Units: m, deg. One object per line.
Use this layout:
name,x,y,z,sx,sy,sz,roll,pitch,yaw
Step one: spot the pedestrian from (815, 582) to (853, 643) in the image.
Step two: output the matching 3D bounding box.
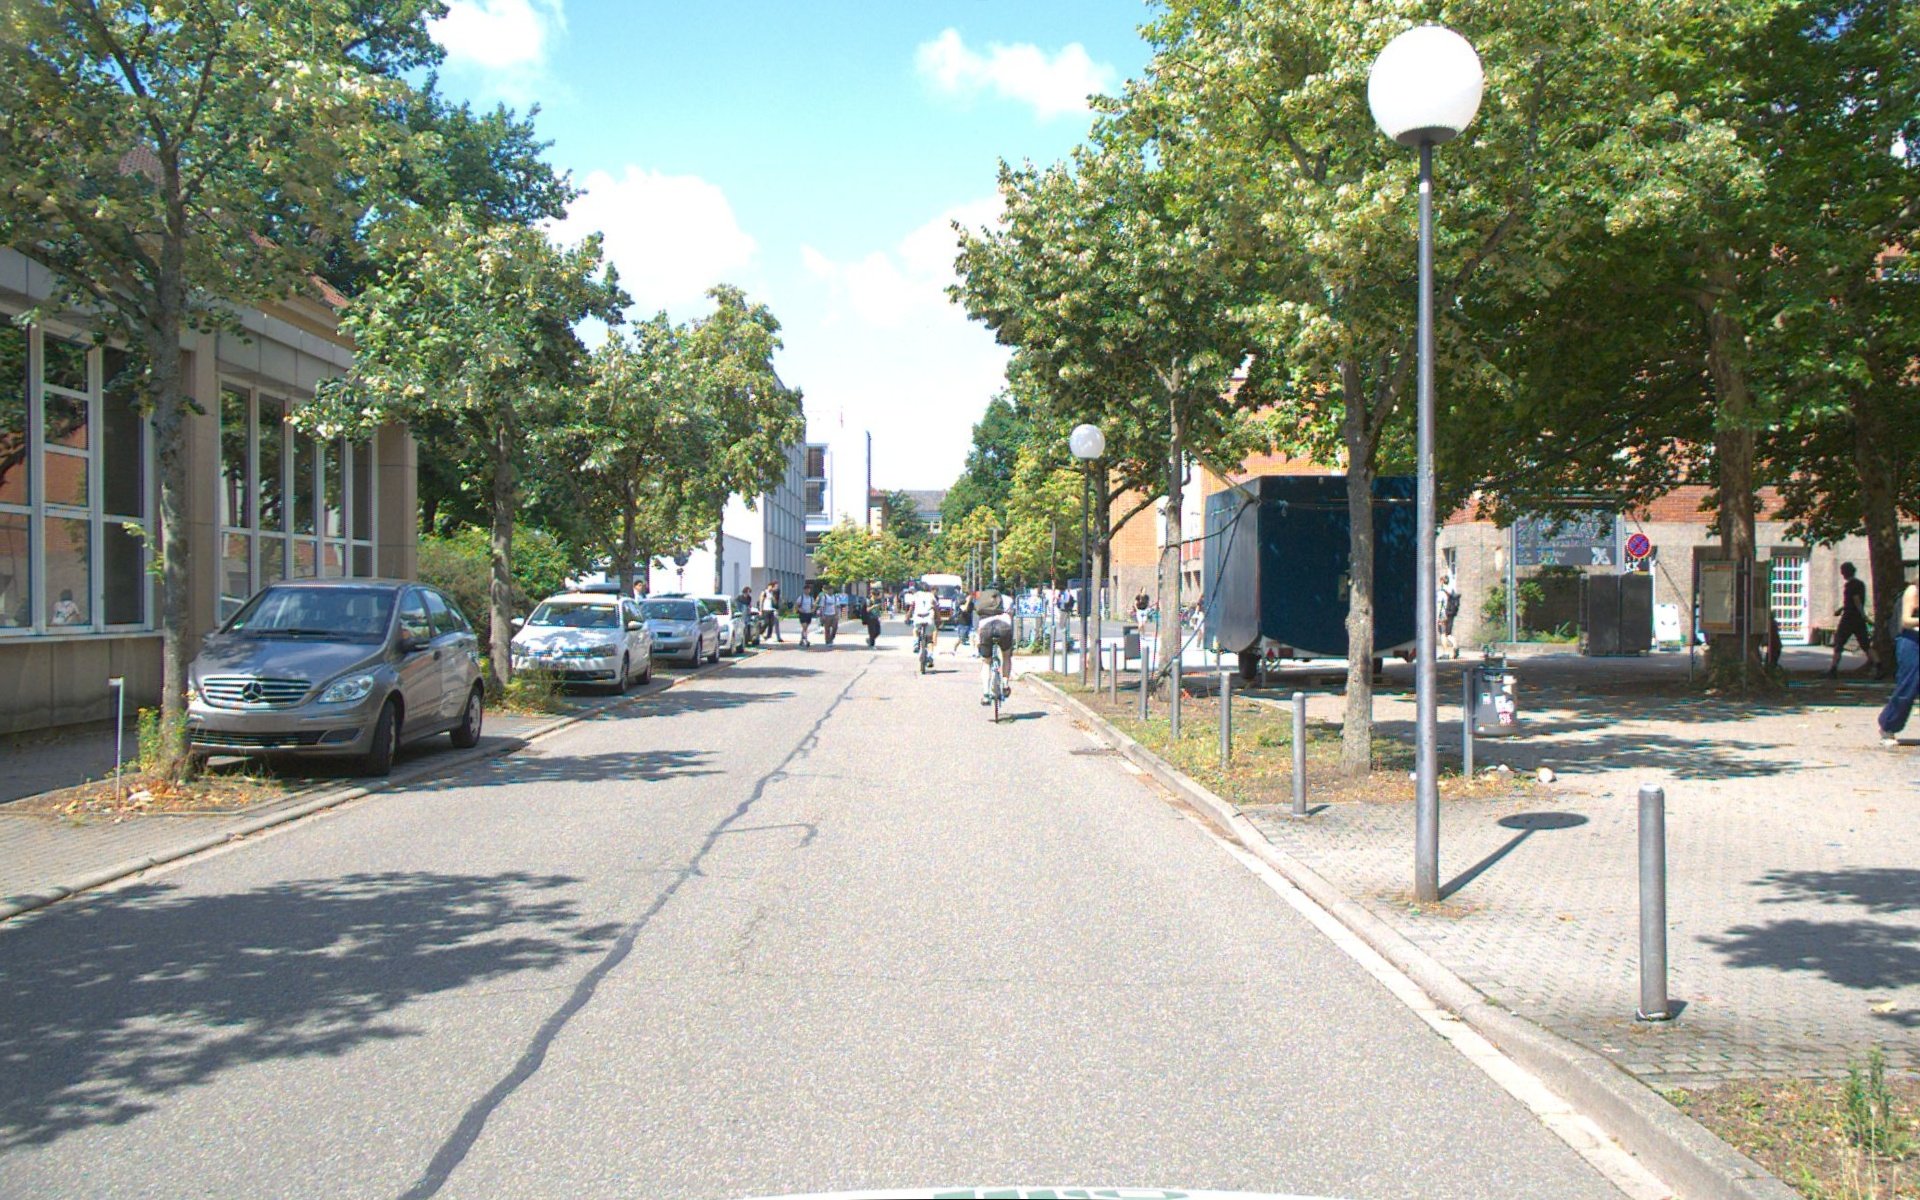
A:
pedestrian,-3.731,0.372,48.837,0.891,1.769,0.676,-1,0,37

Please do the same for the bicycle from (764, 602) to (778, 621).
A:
bicycle,-10.298,0.629,90.166,0.512,1.002,1.633,-2,0,3

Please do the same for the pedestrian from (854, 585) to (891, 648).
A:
pedestrian,-2.505,0.469,47.078,0.692,1.750,0.986,2,-1,-24

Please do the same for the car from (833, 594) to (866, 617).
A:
car,-7.477,0.351,112.315,1.758,1.557,4.001,0,0,3

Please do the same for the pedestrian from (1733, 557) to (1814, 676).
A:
pedestrian,11.843,0.235,24.102,0.749,1.690,0.824,-1,0,-1

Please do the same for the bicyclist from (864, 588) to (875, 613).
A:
bicyclist,-5.883,0.036,107.670,0.630,1.629,0.908,-1,0,-3

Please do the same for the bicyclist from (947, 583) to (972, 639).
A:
bicyclist,-0.027,0.351,53.804,0.792,1.787,0.692,1,-1,-1

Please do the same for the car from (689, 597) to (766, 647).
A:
car,-6.558,0.592,46.934,1.611,1.323,3.927,-1,0,0

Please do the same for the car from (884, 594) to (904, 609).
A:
car,-7.128,0.123,178.760,1.758,1.557,4.001,0,0,3

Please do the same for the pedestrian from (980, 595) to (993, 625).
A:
pedestrian,1.658,0.613,102.364,0.774,1.892,1.026,0,0,0

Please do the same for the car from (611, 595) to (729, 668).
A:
car,-6.007,0.613,34.670,1.690,1.367,4.165,2,0,0

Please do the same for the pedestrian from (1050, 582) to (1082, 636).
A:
pedestrian,3.554,0.293,55.192,0.938,1.724,0.705,2,2,9

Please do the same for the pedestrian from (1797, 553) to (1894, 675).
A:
pedestrian,13.450,0.195,25.145,0.940,1.806,0.917,-1,1,-9

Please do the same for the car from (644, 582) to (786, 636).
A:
car,-8.450,0.313,57.122,4.412,1.647,1.925,2,-1,18

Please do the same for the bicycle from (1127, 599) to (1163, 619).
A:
bicycle,9.596,0.450,85.845,1.773,1.002,0.560,-2,0,-2

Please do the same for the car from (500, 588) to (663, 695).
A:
car,-5.830,0.594,25.997,1.691,1.482,4.580,2,0,-3

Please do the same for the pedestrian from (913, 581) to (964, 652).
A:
pedestrian,-0.590,0.444,45.595,1.094,1.891,0.851,1,4,37

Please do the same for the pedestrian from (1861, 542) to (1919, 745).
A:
pedestrian,7.855,0.338,13.402,0.557,1.599,0.927,-1,0,-1

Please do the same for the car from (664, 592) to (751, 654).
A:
car,-6.173,0.531,40.740,1.628,1.436,3.806,1,0,-2

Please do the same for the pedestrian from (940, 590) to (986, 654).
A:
pedestrian,0.072,0.568,43.132,0.844,1.623,0.817,-2,1,-44

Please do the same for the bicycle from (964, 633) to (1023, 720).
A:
bicycle,0.428,0.934,20.829,0.692,1.010,1.911,1,0,1

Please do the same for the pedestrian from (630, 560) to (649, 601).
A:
pedestrian,-14.070,-0.848,72.587,0.679,1.780,0.636,1,-1,-1

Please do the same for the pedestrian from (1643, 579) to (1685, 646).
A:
pedestrian,17.326,0.302,40.715,0.646,1.635,0.678,-1,0,-16

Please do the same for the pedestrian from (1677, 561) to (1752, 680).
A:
pedestrian,10.975,0.297,24.078,0.683,1.690,0.788,-1,0,-1

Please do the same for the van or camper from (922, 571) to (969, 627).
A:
van or camper,-0.645,-0.019,75.633,1.952,2.488,4.570,-1,-1,1

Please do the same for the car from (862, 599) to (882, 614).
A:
car,-9.514,0.674,178.752,1.758,1.557,4.001,0,0,3

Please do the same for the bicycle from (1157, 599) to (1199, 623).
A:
bicycle,9.891,0.501,75.097,1.773,1.002,0.560,-2,0,-2

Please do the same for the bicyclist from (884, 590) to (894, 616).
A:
bicyclist,-4.648,0.185,108.425,0.654,1.711,0.992,-1,0,-2

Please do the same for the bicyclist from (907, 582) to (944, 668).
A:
bicyclist,-0.725,0.522,34.649,0.755,1.787,0.848,0,0,-1

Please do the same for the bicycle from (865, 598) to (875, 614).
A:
bicycle,-5.854,0.398,107.531,0.663,0.981,2.002,0,0,-3

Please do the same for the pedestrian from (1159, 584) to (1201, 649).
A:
pedestrian,5.918,0.440,44.545,0.858,1.666,0.948,-5,0,-1

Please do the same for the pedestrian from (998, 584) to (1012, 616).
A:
pedestrian,2.735,-0.001,100.636,0.774,1.892,1.026,-1,0,0

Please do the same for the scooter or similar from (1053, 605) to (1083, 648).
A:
scooter or similar,3.057,0.734,46.740,0.635,1.180,1.266,0,0,14

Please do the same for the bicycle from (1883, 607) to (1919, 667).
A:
bicycle,18.407,0.678,30.466,2.345,1.090,0.783,0,-1,6

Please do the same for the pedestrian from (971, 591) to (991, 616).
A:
pedestrian,1.790,0.325,141.776,1.470,2.031,1.645,-3,1,-3

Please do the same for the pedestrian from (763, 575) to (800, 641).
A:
pedestrian,-5.586,0.255,51.703,0.809,2.014,0.691,3,1,23

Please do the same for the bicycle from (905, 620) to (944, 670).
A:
bicycle,-0.749,0.953,34.797,0.792,1.020,2.123,0,-2,-1

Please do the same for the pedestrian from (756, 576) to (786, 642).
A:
pedestrian,-5.800,0.285,50.786,0.610,2.015,0.819,0,-2,-32

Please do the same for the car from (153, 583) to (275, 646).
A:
car,-23.876,0.416,53.115,1.889,1.799,4.440,-3,1,-2

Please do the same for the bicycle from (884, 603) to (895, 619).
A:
bicycle,-4.625,0.689,108.192,0.663,0.981,2.002,-3,1,-2

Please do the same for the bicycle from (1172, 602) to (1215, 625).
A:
bicycle,10.101,0.570,71.493,1.773,0.928,0.560,-2,0,-2

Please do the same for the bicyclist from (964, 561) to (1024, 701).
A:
bicyclist,0.432,0.382,20.724,0.702,1.691,1.095,1,0,1

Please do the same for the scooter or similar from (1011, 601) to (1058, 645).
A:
scooter or similar,2.223,0.665,49.085,1.237,1.287,0.638,0,0,31

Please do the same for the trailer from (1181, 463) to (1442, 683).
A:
trailer,5.460,-0.397,26.838,2.637,3.105,6.254,-1,0,-2

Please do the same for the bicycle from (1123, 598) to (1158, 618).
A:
bicycle,9.611,0.433,88.182,1.773,1.002,0.560,-2,0,-2

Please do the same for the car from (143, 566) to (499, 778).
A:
car,-5.492,0.561,14.802,1.722,1.583,4.111,2,0,-3

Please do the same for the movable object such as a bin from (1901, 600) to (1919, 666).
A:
movable object such as a bin,16.188,0.546,27.533,0.587,1.090,0.742,0,-2,-1

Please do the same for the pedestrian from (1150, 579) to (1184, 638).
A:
pedestrian,6.671,0.270,53.310,0.699,1.818,0.747,-5,2,-25

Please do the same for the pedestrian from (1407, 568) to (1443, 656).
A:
pedestrian,9.934,0.249,35.343,0.583,1.828,0.406,-2,2,-5

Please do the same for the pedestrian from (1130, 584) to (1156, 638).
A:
pedestrian,5.881,0.347,53.081,0.495,1.658,0.567,-5,2,-25

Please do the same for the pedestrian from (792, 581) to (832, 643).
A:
pedestrian,-4.315,0.347,48.176,0.965,1.770,0.697,-1,-1,39

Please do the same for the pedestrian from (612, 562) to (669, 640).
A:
pedestrian,-7.499,0.032,38.788,0.704,1.746,1.092,8,-5,-41

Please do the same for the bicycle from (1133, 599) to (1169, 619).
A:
bicycle,9.735,0.458,84.314,1.773,1.002,0.560,-2,0,-2

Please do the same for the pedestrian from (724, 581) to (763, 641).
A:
pedestrian,-6.681,0.328,51.069,0.785,1.803,0.854,3,1,23

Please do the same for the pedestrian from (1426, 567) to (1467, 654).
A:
pedestrian,10.521,0.217,35.789,0.583,1.828,0.727,-2,2,-5

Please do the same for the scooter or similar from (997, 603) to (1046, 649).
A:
scooter or similar,1.772,0.736,47.486,1.237,1.287,0.649,0,0,31
